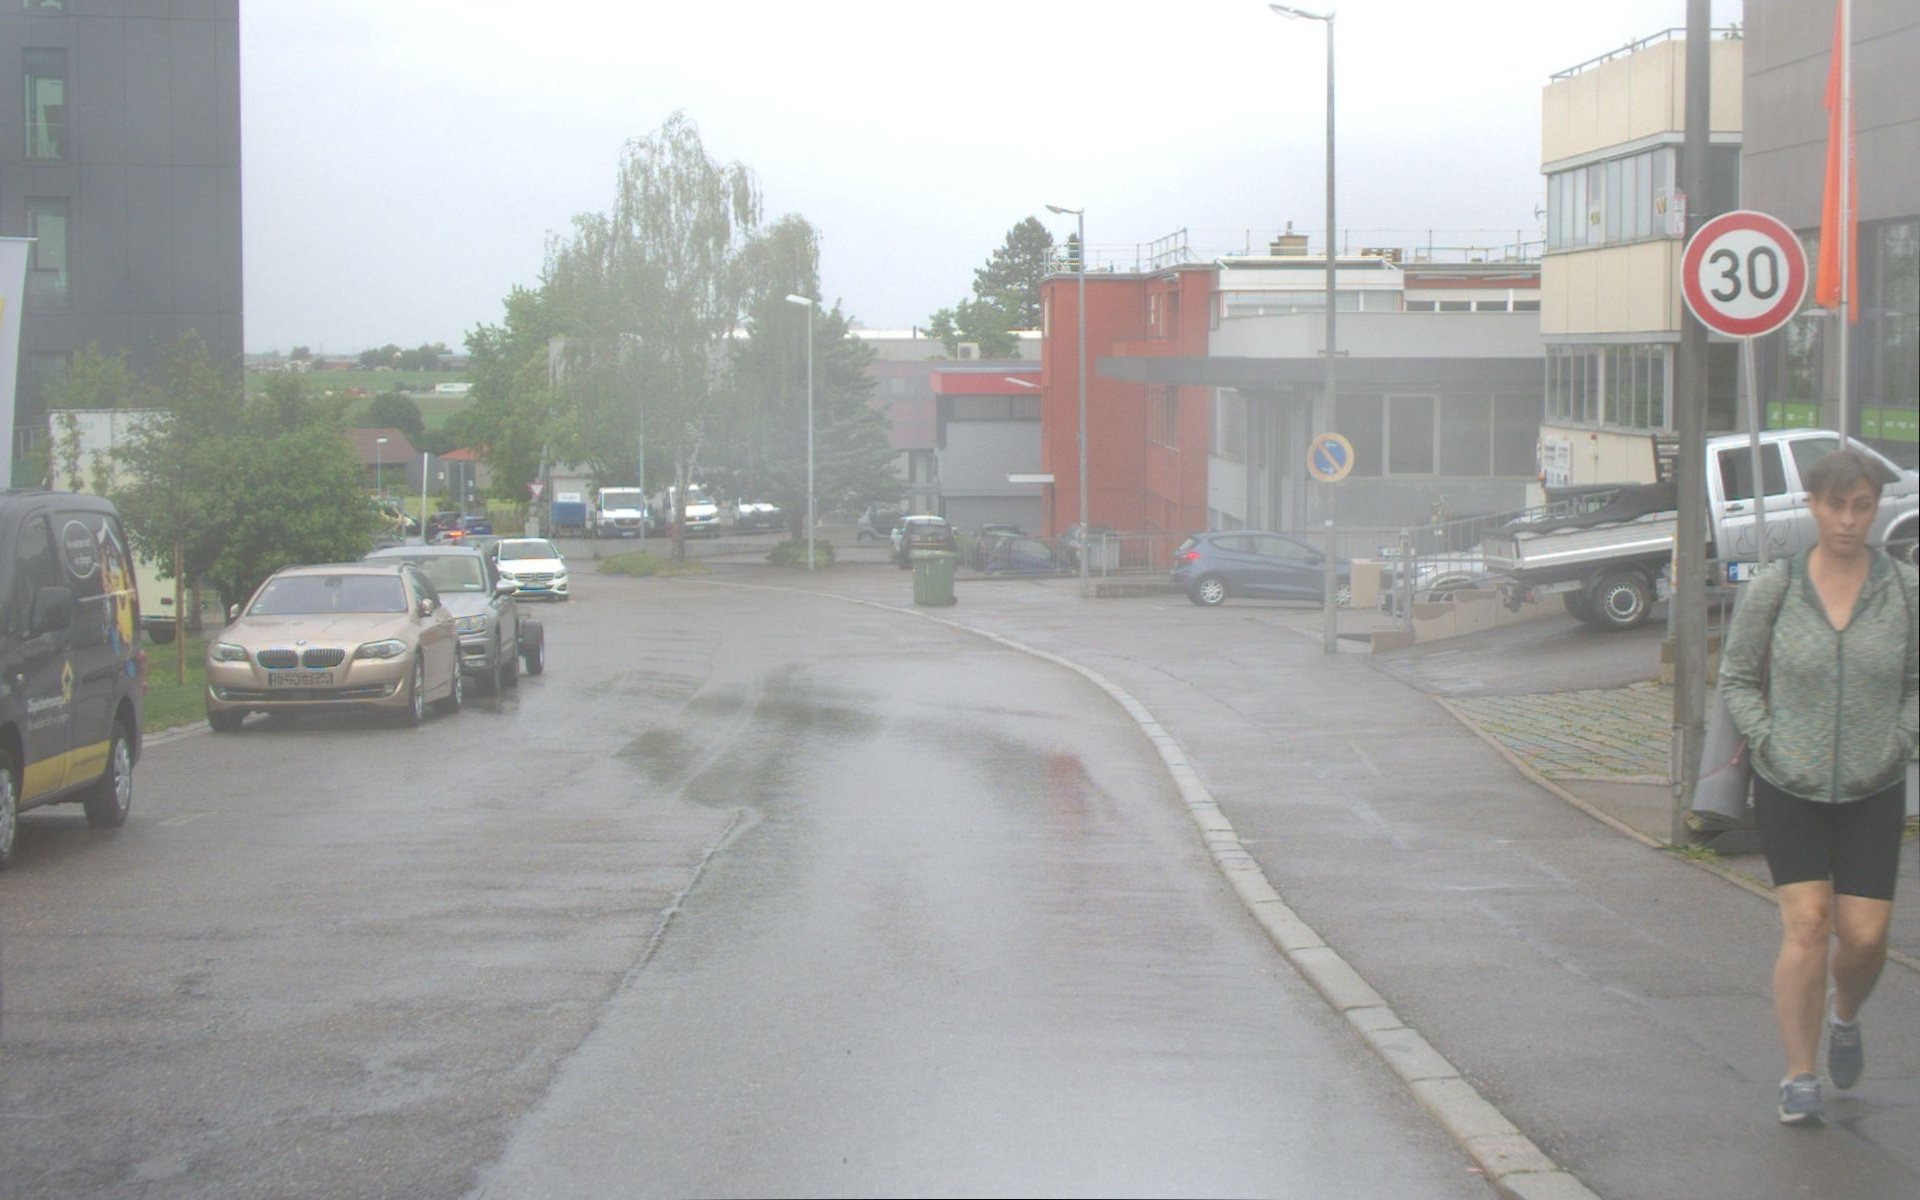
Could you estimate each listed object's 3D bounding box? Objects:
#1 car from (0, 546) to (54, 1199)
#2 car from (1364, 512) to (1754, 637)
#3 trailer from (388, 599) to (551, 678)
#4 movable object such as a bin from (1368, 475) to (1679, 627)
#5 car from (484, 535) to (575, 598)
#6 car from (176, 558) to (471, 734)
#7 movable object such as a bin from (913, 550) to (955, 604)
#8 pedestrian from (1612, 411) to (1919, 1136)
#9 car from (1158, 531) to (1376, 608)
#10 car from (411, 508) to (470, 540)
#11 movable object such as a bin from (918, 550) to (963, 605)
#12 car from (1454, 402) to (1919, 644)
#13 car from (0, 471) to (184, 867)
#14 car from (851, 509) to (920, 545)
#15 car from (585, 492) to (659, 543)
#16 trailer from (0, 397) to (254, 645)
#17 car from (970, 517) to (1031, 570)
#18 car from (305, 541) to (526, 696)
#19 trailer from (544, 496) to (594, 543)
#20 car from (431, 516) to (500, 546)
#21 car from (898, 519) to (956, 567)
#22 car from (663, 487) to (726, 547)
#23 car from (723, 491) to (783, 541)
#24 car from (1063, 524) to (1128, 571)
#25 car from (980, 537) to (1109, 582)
[{"bbox_3d":[-3.046,0.637,5.969,1.747,1.503,3.935,0,0,3],"label":"car"},{"bbox_3d":[8.412,-0.380,48.534,5.091,1.608,1.925,-1,2,-3],"label":"car"},{"bbox_3d":[-6.077,0.456,42.897,1.680,0.885,3.898,-1,0,-3],"label":"trailer"},{"bbox_3d":[8.229,-0.721,50.409,4.254,2.103,1.477,-1,1,-1],"label":"movable object such as a bin"},{"bbox_3d":[-10.826,-0.833,86.272,1.769,1.507,4.146,-2,1,-14],"label":"car"},{"bbox_3d":[-5.835,0.365,32.138,1.956,1.456,5.248,-1,1,-2],"label":"car"},{"bbox_3d":[-0.526,-0.470,70.071,0.775,1.072,0.584,-1,1,-7],"label":"movable object such as a bin"},{"bbox_3d":[2.113,0.417,8.769,0.736,1.761,0.808,0,0,-1],"label":"pedestrian"},{"bbox_3d":[5.805,-0.581,65.326,3.894,1.379,1.821,1,0,-3],"label":"car"},{"bbox_3d":[-29.387,-4.281,194.368,1.993,1.698,4.000,-1,0,-29],"label":"car"},{"bbox_3d":[-0.400,-0.463,69.427,0.806,1.089,0.709,-1,1,-7],"label":"movable object such as a bin"},{"bbox_3d":[8.592,-0.894,39.245,5.298,2.006,2.222,-8,1,-2],"label":"car"},{"bbox_3d":[-5.421,0.301,17.496,1.915,1.825,4.848,0,1,-1],"label":"car"},{"bbox_3d":[-2.867,-2.795,131.908,2.547,1.347,1.242,-1,1,-7],"label":"car"},{"bbox_3d":[-14.166,-3.439,143.893,2.264,2.007,4.001,-1,0,-18],"label":"car"},{"bbox_3d":[-14.582,-1.341,60.067,4.181,4.188,2.002,-1,1,36],"label":"trailer"},{"bbox_3d":[1.285,-1.796,110.622,1.739,1.648,4.000,-1,0,-2],"label":"car"},{"bbox_3d":[-6.022,0.177,38.512,1.957,1.571,4.841,-2,0,-4],"label":"car"},{"bbox_3d":[-16.823,-3.460,147.806,1.852,2.007,4.001,-1,1,-10],"label":"trailer"},{"bbox_3d":[-27.166,-3.793,188.888,2.460,1.534,4.000,-1,0,-29],"label":"car"},{"bbox_3d":[-1.057,-1.797,109.861,1.697,1.470,4.000,-1,0,-2],"label":"car"},{"bbox_3d":[-11.177,-3.469,144.435,2.192,2.451,4.001,-1,0,-10],"label":"car"},{"bbox_3d":[-8.776,-3.530,145.501,2.145,2.007,3.940,-1,0,-9],"label":"car"},{"bbox_3d":[4.309,-1.660,109.791,1.729,1.417,4.000,-1,0,-2],"label":"car"},{"bbox_3d":[2.240,-1.088,92.135,3.400,1.159,1.792,0,1,0],"label":"car"}]
